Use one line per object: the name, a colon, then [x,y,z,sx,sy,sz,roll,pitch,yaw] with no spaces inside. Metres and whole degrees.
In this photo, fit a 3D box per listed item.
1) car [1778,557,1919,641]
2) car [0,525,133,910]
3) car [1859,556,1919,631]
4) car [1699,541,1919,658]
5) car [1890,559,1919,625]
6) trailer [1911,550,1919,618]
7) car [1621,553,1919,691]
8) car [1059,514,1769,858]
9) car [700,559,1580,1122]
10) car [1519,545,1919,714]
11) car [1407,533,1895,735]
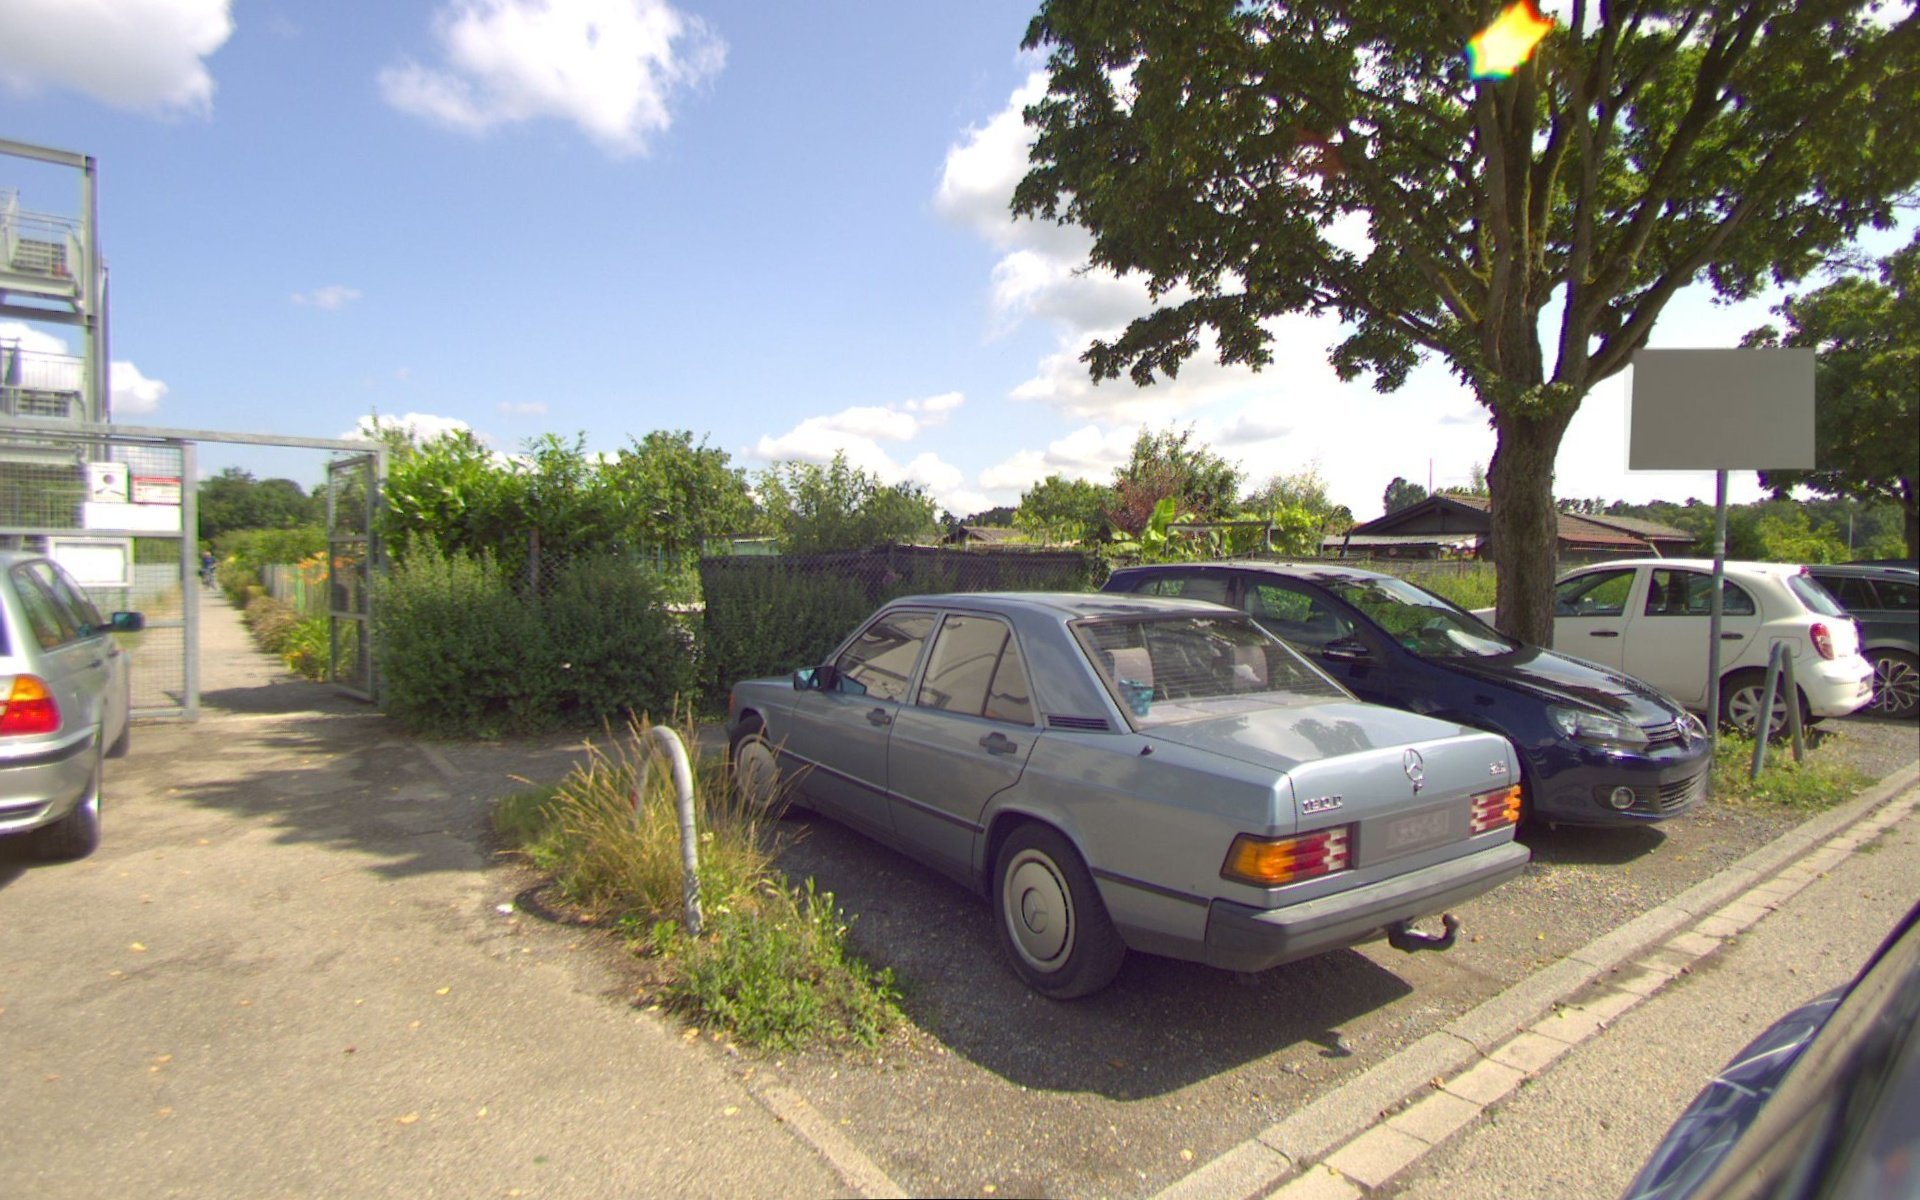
car: [17.948,-0.042,18.495,1.939,1.510,4.347,-2,2,-37]
car: [-5.451,0.351,5.172,1.727,1.447,4.254,-2,5,-37]
car: [22.323,-0.158,21.664,1.964,1.613,4.314,-2,2,-37]
car: [14.046,-0.052,15.375,1.843,1.657,4.169,-2,3,-35]
car: [24.225,-0.214,23.458,1.817,1.559,3.731,-2,2,-40]
trailer: [26.015,-0.412,25.789,1.492,1.742,2.454,0,1,-40]
car: [10.880,0.184,12.815,1.729,1.551,3.821,-2,3,-37]
car: [2.695,0.350,6.765,1.834,1.579,3.942,-2,2,-38]
car: [0.270,0.537,4.925,1.685,1.408,4.377,-2,4,-33]
car: [8.930,0.241,11.117,1.777,1.598,4.557,-2,2,-40]
car: [6.456,0.225,9.751,1.637,1.568,3.581,-2,2,-40]
